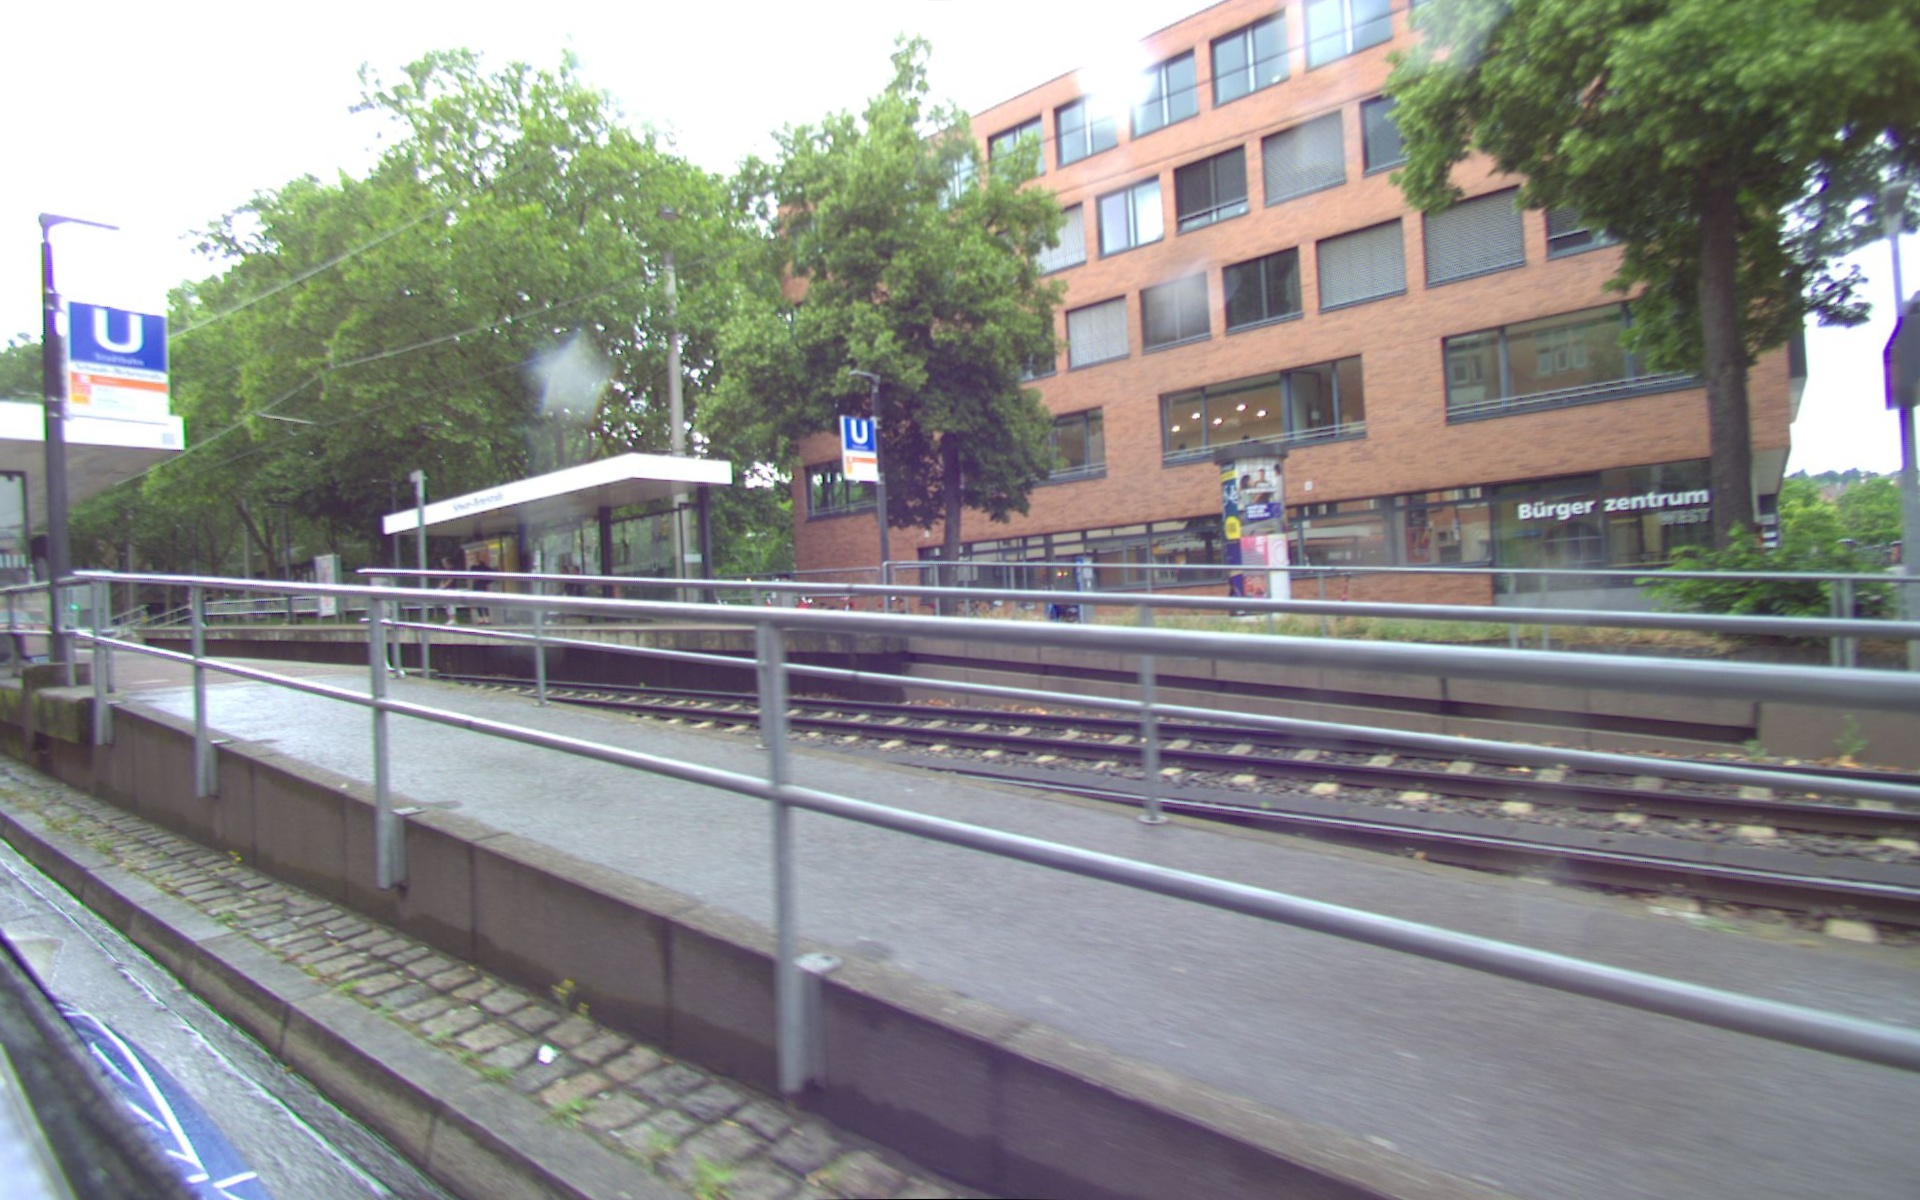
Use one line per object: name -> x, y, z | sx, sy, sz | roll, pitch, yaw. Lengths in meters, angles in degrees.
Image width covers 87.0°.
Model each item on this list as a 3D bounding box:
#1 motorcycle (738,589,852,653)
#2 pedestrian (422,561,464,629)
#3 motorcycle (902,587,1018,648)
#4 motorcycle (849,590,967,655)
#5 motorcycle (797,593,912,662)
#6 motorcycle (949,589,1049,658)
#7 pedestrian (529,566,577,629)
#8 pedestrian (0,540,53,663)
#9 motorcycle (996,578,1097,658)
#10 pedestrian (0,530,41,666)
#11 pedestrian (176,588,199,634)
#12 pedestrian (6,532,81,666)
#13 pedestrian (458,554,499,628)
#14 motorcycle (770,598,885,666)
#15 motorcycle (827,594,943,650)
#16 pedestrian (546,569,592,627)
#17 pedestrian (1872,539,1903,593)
motorcycle -> -5.031, 0.604, 31.294 | 1.004, 1.787, 3.828 | -2, 0, 37
pedestrian -> -12.861, -0.130, 25.180 | 0.563, 1.653, 0.680 | -3, 0, 37
motorcycle -> 0.065, 0.432, 27.329 | 1.004, 1.499, 3.828 | -2, 0, 37
motorcycle -> -1.373, 0.586, 28.020 | 1.004, 1.617, 3.828 | -2, 0, 37
motorcycle -> -3.038, 0.767, 29.816 | 1.004, 1.829, 3.828 | -2, 0, 37
motorcycle -> 1.064, 0.574, 26.386 | 1.005, 1.640, 3.030 | -2, 0, 37
pedestrian -> -9.110, -0.062, 22.676 | 0.563, 1.373, 0.770 | -3, 0, 37
pedestrian -> -12.481, 0.023, 13.418 | 0.507, 1.593, 0.607 | -2, 0, 42
motorcycle -> 2.173, 0.410, 25.006 | 0.992, 1.829, 3.008 | -2, 0, 37
pedestrian -> -12.157, -0.025, 12.880 | 0.587, 1.701, 0.607 | -2, 0, 42
pedestrian -> -28.658, 0.407, 37.537 | 0.556, 1.653, 0.689 | -3, 0, -44
pedestrian -> -11.215, -0.009, 12.389 | 0.507, 1.593, 0.607 | -2, 0, 42
pedestrian -> -11.557, -0.207, 24.279 | 0.704, 1.728, 0.557 | -3, 0, 37
motorcycle -> -3.925, 0.910, 30.539 | 1.004, 1.829, 3.828 | -2, 0, 37
motorcycle -> -2.076, 0.591, 29.059 | 1.004, 1.417, 3.828 | -2, 0, 37
pedestrian -> -8.608, -0.051, 22.291 | 0.563, 1.249, 0.697 | -3, 0, 37
pedestrian -> 35.617, -1.308, 38.877 | 0.715, 2.029, 0.712 | -2, -1, 34
